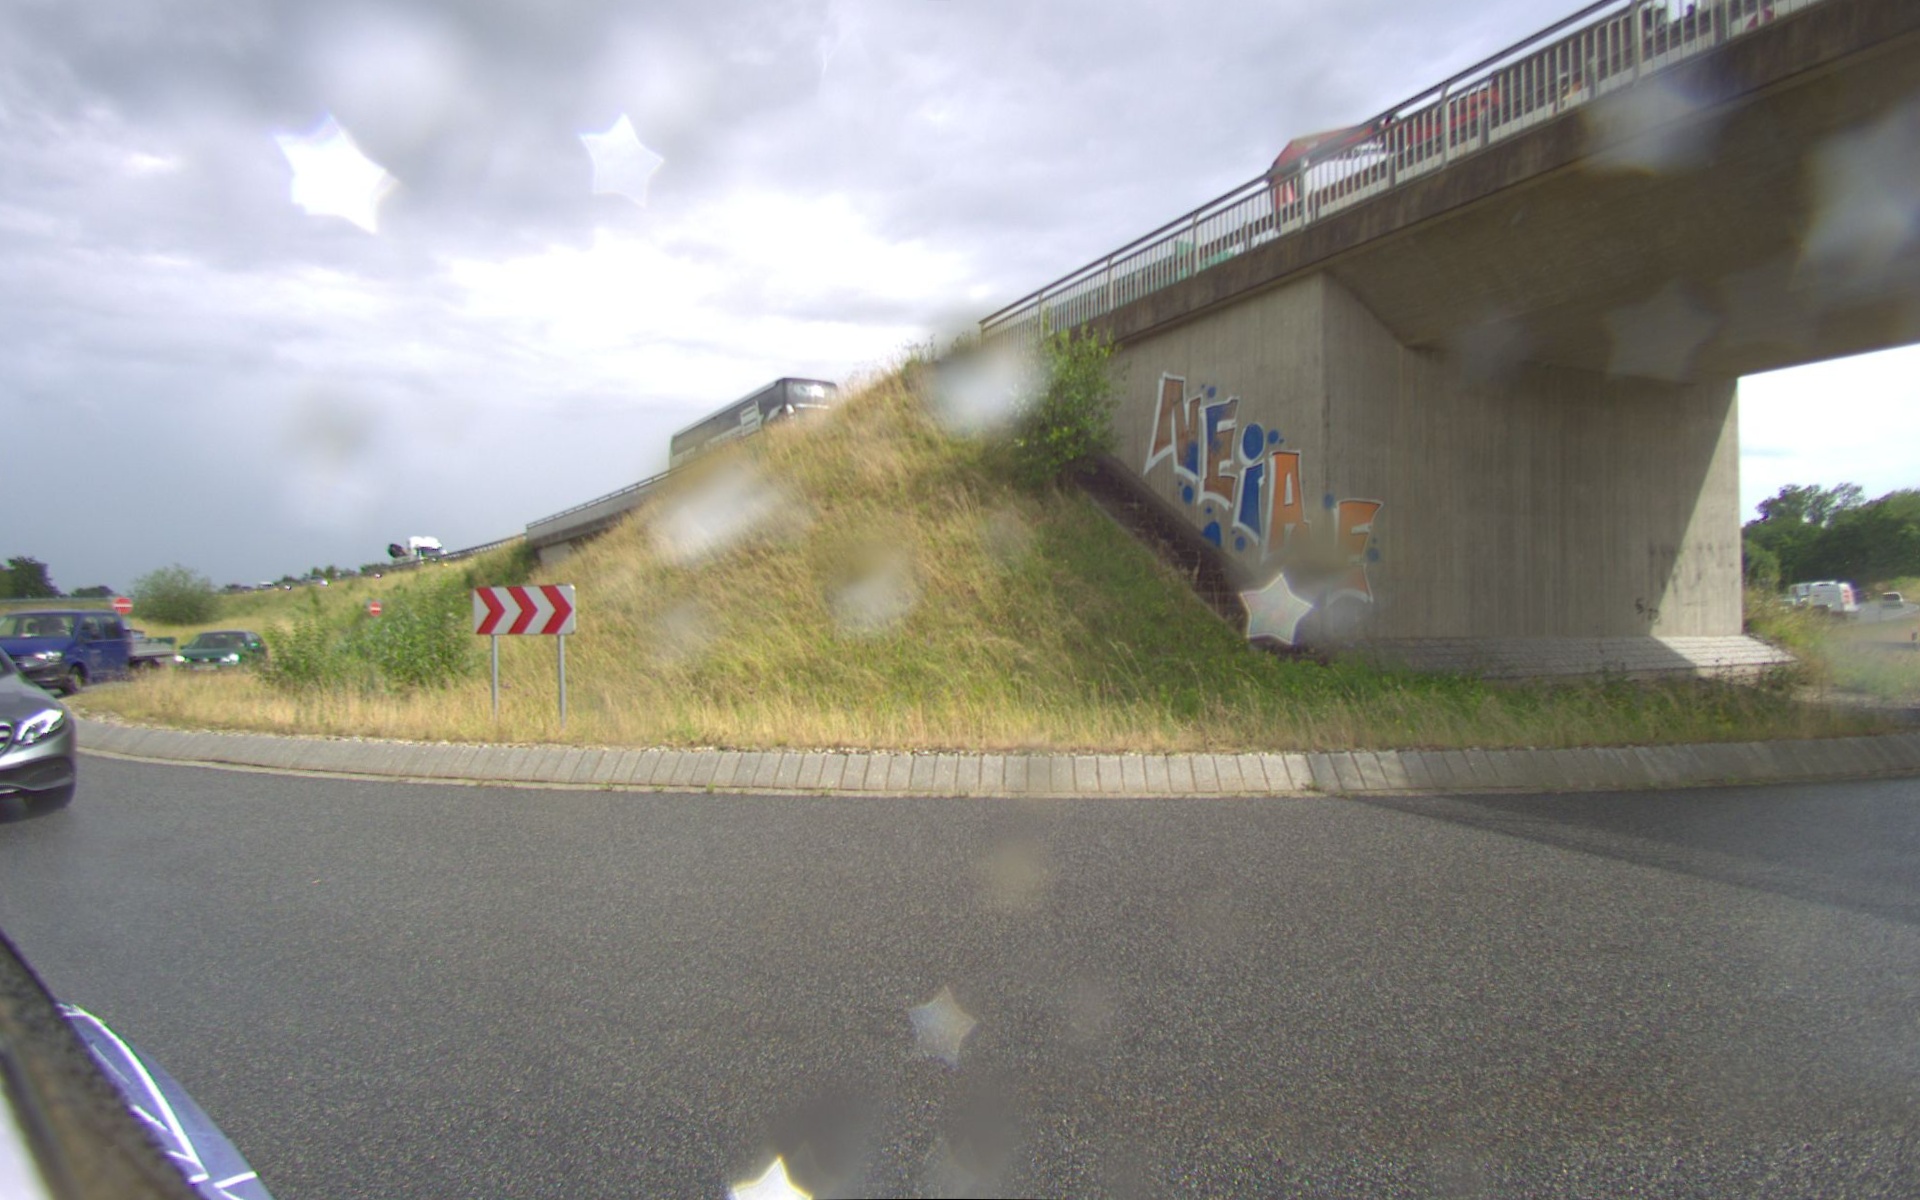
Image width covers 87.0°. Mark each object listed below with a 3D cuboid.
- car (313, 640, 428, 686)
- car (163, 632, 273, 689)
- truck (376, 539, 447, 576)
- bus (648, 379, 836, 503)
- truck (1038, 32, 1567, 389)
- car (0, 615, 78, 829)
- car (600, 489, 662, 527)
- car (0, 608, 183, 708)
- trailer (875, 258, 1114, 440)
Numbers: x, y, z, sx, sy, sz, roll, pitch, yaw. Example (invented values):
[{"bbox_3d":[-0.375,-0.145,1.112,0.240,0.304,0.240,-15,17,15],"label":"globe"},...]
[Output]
[{"bbox_3d":[-21.051,2.220,36.308,1.553,1.548,3.921,-1,-2,6],"label":"car"},{"bbox_3d":[-21.139,1.690,28.985,1.744,1.496,3.846,0,-2,-24],"label":"car"},{"bbox_3d":[-55.628,-4.256,102.574,9.272,3.218,3.119,-2,0,40],"label":"truck"},{"bbox_3d":[-10.027,-6.558,44.291,2.570,3.103,14.500,-1,0,-35],"label":"bus"},{"bbox_3d":[5.678,-6.733,19.884,2.170,2.895,10.856,-1,0,-32],"label":"truck"},{"bbox_3d":[-8.406,0.917,7.682,4.584,1.402,1.749,-4,-3,38],"label":"car"},{"bbox_3d":[-18.798,-5.224,57.680,1.688,1.536,4.502,-13,7,-38],"label":"car"},{"bbox_3d":[-20.328,1.219,23.337,1.861,1.929,5.699,-2,1,-17],"label":"car"},{"bbox_3d":[0.598,-6.550,27.878,2.150,2.893,8.354,-1,0,-33],"label":"trailer"}]
